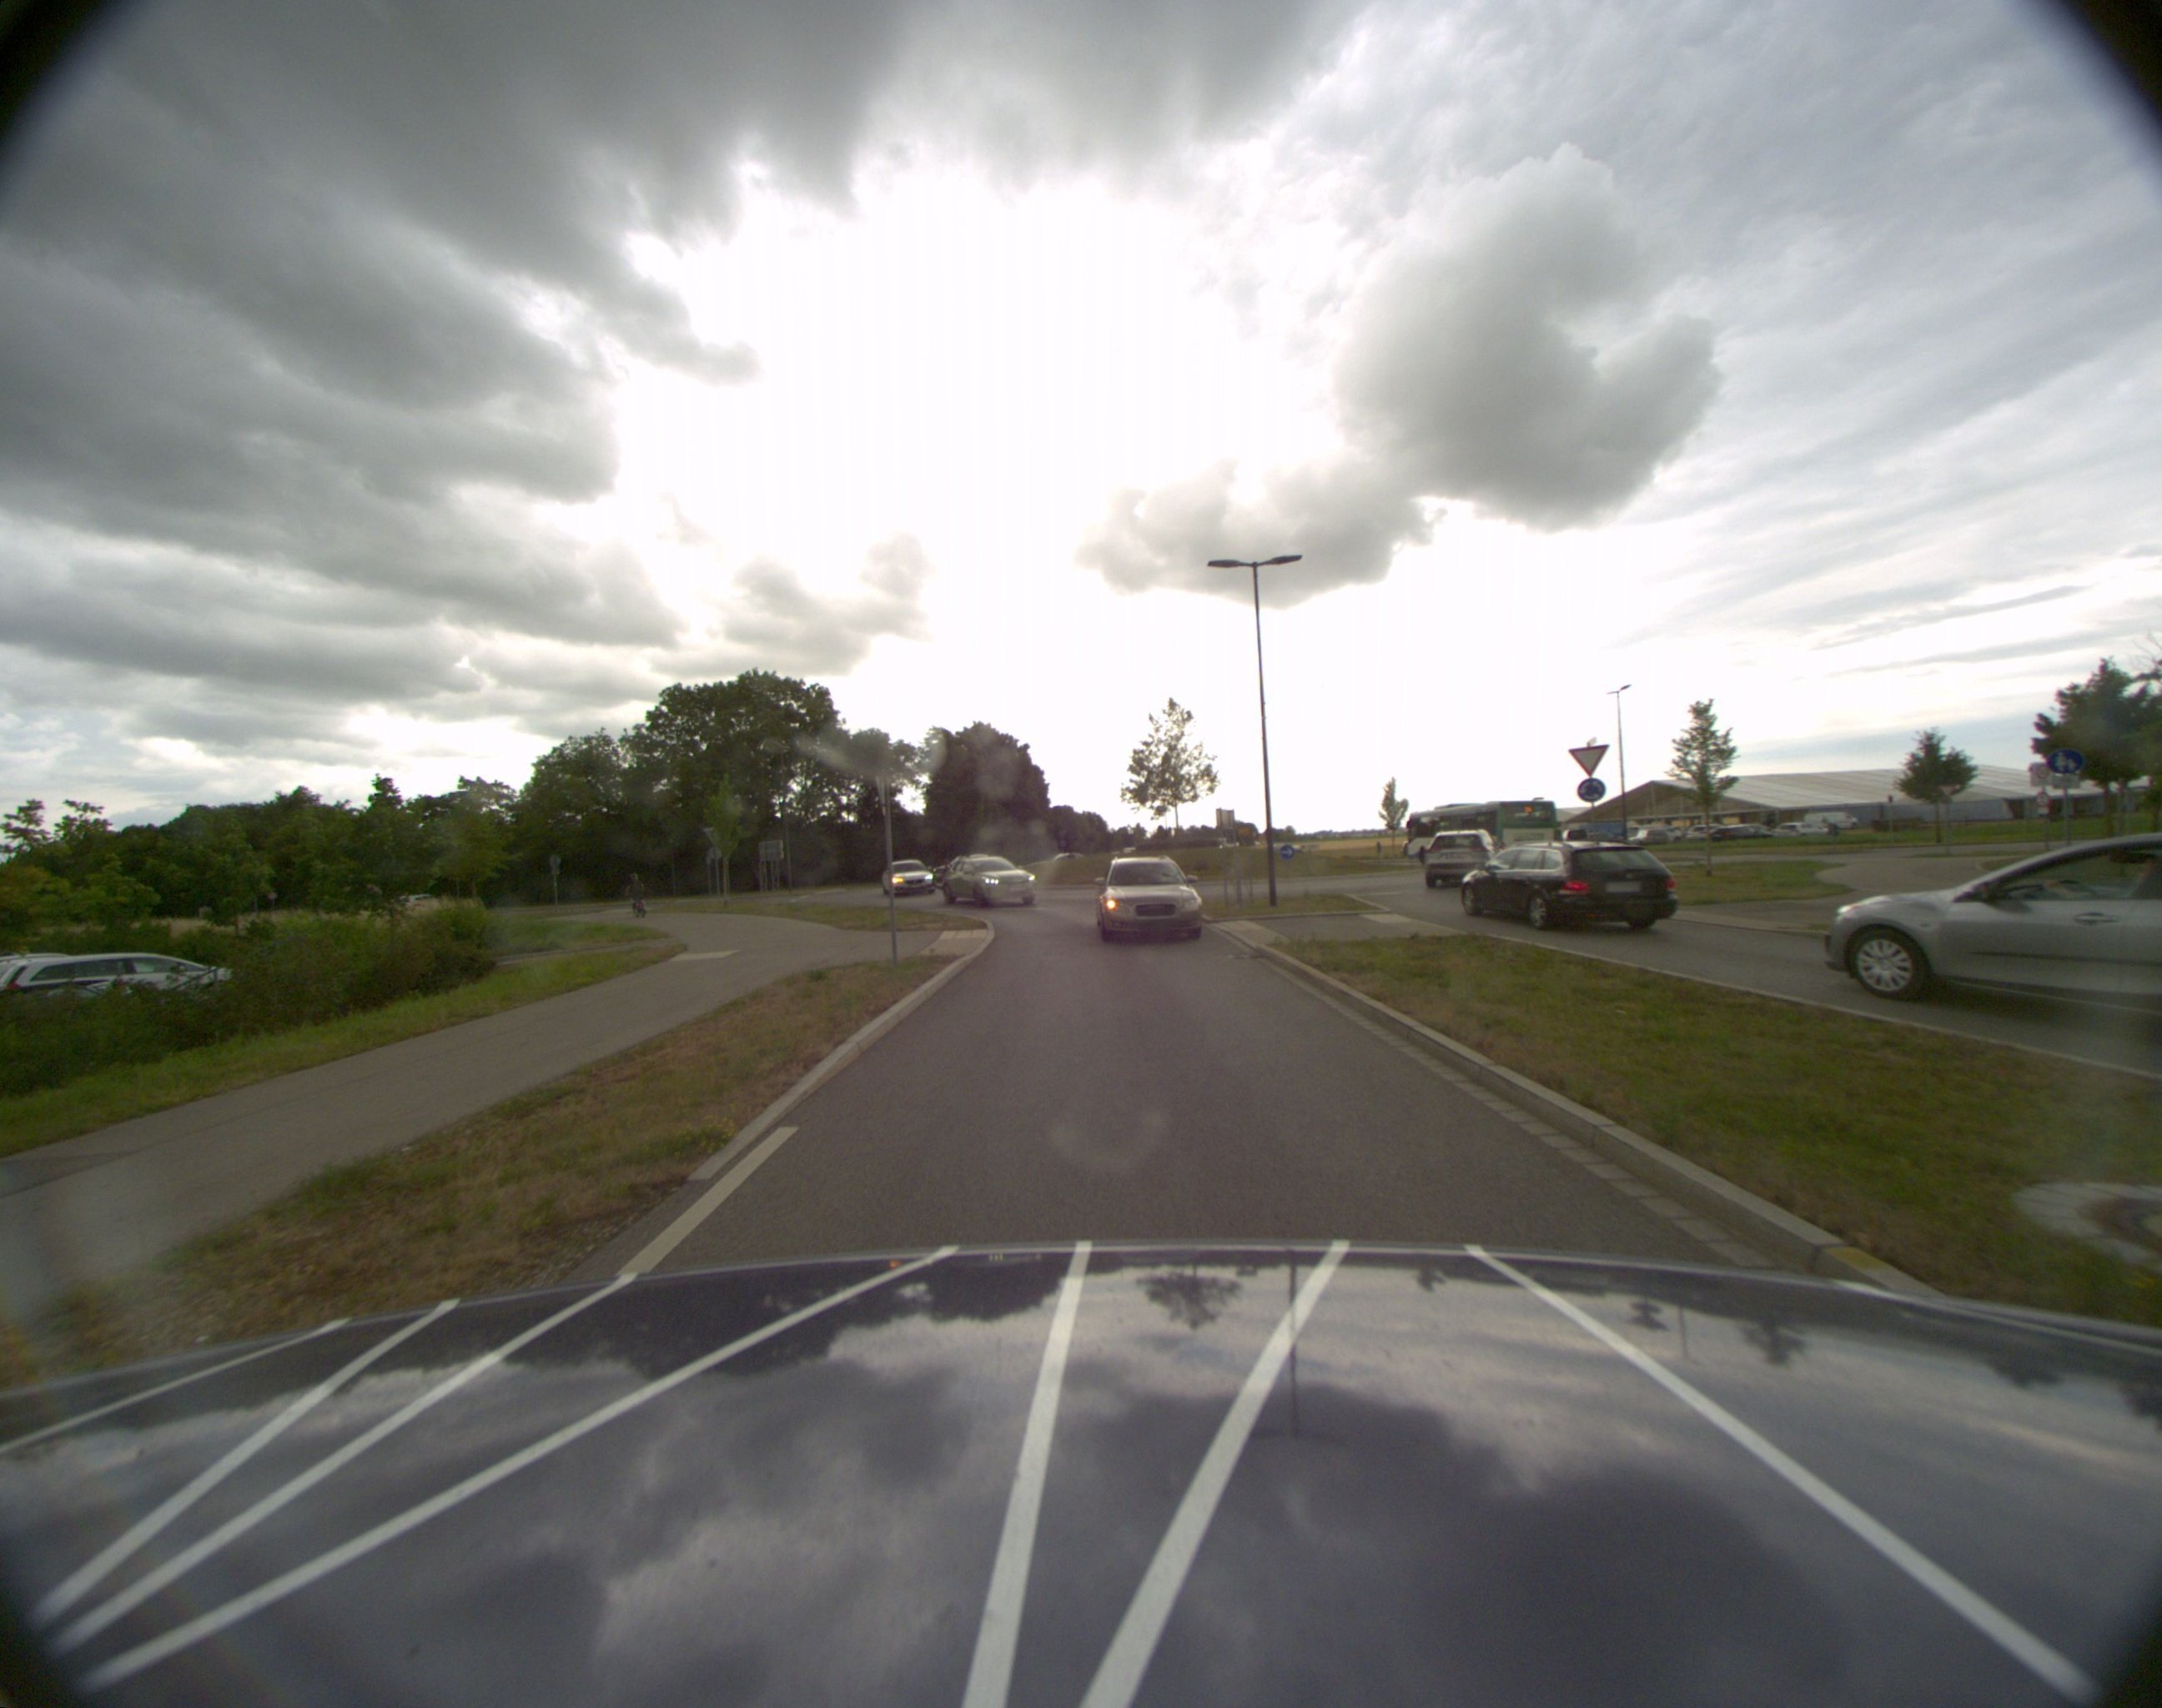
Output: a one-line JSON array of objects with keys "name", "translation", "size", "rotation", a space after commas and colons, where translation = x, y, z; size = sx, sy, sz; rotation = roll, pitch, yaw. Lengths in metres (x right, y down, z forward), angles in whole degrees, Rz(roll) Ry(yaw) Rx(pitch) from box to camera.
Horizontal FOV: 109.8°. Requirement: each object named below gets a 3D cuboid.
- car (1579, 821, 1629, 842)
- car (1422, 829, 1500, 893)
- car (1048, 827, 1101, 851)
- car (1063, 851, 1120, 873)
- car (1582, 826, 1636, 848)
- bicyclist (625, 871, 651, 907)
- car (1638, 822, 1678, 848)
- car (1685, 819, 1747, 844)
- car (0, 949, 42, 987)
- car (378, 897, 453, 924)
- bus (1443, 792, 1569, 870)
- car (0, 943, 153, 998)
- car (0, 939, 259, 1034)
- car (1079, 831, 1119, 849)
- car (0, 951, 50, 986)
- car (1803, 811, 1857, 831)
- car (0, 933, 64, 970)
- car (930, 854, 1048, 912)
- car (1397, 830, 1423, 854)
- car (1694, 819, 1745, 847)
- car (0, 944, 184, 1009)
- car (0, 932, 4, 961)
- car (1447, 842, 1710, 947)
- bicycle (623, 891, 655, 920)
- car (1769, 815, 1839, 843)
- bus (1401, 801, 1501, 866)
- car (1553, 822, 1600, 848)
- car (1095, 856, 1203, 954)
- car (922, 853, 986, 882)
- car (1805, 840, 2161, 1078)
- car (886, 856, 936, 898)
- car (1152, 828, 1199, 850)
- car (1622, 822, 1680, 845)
[{"name": "car", "translation": [52.700, -2.279, 76.580], "size": [4.001, 2.002, 1.998], "rotation": [-2, 1, -12]}, {"name": "car", "translation": [11.649, 0.145, 23.139], "size": [1.826, 1.713, 4.406], "rotation": [-1, 2, 30]}, {"name": "car", "translation": [-0.457, -1.217, 62.174], "size": [1.994, 1.794, 4.781], "rotation": [-1, 0, 33]}, {"name": "car", "translation": [0.765, 0.584, 56.111], "size": [3.778, 1.510, 1.995], "rotation": [-2, 1, -39]}, {"name": "car", "translation": [50.114, -1.591, 72.109], "size": [4.001, 2.002, 1.998], "rotation": [-2, 1, -12]}, {"name": "bicyclist", "translation": [-15.814, 1.229, 27.123], "size": [0.657, 1.236, 0.556], "rotation": [-1, 1, 41]}, {"name": "car", "translation": [46.425, -1.523, 61.220], "size": [1.995, 2.002, 4.007], "rotation": [-1, 1, 28]}, {"name": "car", "translation": [54.395, -1.897, 65.086], "size": [4.001, 2.002, 1.998], "rotation": [-2, 1, -12]}, {"name": "car", "translation": [-44.419, 4.681, 29.852], "size": [1.697, 1.352, 4.007], "rotation": [-1, 0, 28]}, {"name": "car", "translation": [-47.836, 4.077, 54.631], "size": [4.066, 1.761, 2.002], "rotation": [-2, 1, 14]}, {"name": "bus", "translation": [19.751, -1.009, 35.818], "size": [2.989, 3.261, 6.488], "rotation": [-2, 0, 8]}, {"name": "car", "translation": [-35.835, 4.062, 26.570], "size": [1.697, 1.352, 4.007], "rotation": [-1, 0, 28]}, {"name": "car", "translation": [-25.334, 3.405, 20.293], "size": [1.697, 1.707, 4.250], "rotation": [-1, 0, 28]}, {"name": "car", "translation": [1.790, -1.336, 73.401], "size": [1.994, 1.674, 4.007], "rotation": [-1, 1, 33]}, {"name": "car", "translation": [-49.700, 5.300, 33.986], "size": [1.697, 1.352, 4.007], "rotation": [-1, 0, 28]}, {"name": "car", "translation": [81.774, -3.575, 82.956], "size": [4.568, 2.002, 1.998], "rotation": [-2, 1, -12]}, {"name": "car", "translation": [-46.934, 4.286, 32.415], "size": [1.697, 1.352, 4.007], "rotation": [-1, 0, 28]}, {"name": "car", "translation": [-3.144, 0.883, 24.769], "size": [1.874, 1.579, 5.051], "rotation": [-4, 1, -30]}, {"name": "car", "translation": [29.200, -1.074, 67.433], "size": [1.995, 2.002, 4.006], "rotation": [-1, 0, 25]}, {"name": "car", "translation": [49.342, -1.593, 58.770], "size": [2.227, 2.002, 4.007], "rotation": [-1, 1, 28]}, {"name": "car", "translation": [-30.915, 3.724, 23.335], "size": [1.840, 1.352, 4.007], "rotation": [-1, 0, 28]}, {"name": "car", "translation": [-52.496, 4.432, 34.444], "size": [1.697, 1.352, 4.007], "rotation": [-1, 0, 28]}, {"name": "car", "translation": [8.292, 0.577, 13.243], "size": [1.830, 1.480, 4.337], "rotation": [-2, 0, 2]}, {"name": "bicycle", "translation": [-15.803, 1.815, 27.144], "size": [1.297, 0.956, 0.569], "rotation": [-1, 1, 41]}, {"name": "car", "translation": [56.377, -1.924, 59.275], "size": [4.001, 2.002, 1.998], "rotation": [-2, 1, -12]}, {"name": "bus", "translation": [20.425, -1.059, 42.410], "size": [2.989, 3.261, 6.705], "rotation": [-2, 0, 7]}, {"name": "car", "translation": [39.905, -1.504, 61.294], "size": [1.996, 2.002, 4.004], "rotation": [-1, 0, 16]}, {"name": "car", "translation": [1.236, 0.848, 14.421], "size": [1.700, 1.458, 4.000], "rotation": [-2, 1, 3]}, {"name": "car", "translation": [-7.835, 0.804, 47.285], "size": [1.995, 1.674, 4.006], "rotation": [-1, 0, 24]}, {"name": "car", "translation": [7.778, 0.659, 5.102], "size": [1.830, 1.480, 4.215], "rotation": [-2, 0, 1]}, {"name": "car", "translation": [-7.284, 0.926, 32.585], "size": [1.872, 1.533, 4.194], "rotation": [-4, 1, -13]}, {"name": "car", "translation": [7.702, -1.252, 61.885], "size": [1.994, 1.674, 4.008], "rotation": [-1, 1, 37]}, {"name": "car", "translation": [51.863, -1.847, 69.188], "size": [4.000, 2.002, 1.998], "rotation": [-2, 1, -8]}]
